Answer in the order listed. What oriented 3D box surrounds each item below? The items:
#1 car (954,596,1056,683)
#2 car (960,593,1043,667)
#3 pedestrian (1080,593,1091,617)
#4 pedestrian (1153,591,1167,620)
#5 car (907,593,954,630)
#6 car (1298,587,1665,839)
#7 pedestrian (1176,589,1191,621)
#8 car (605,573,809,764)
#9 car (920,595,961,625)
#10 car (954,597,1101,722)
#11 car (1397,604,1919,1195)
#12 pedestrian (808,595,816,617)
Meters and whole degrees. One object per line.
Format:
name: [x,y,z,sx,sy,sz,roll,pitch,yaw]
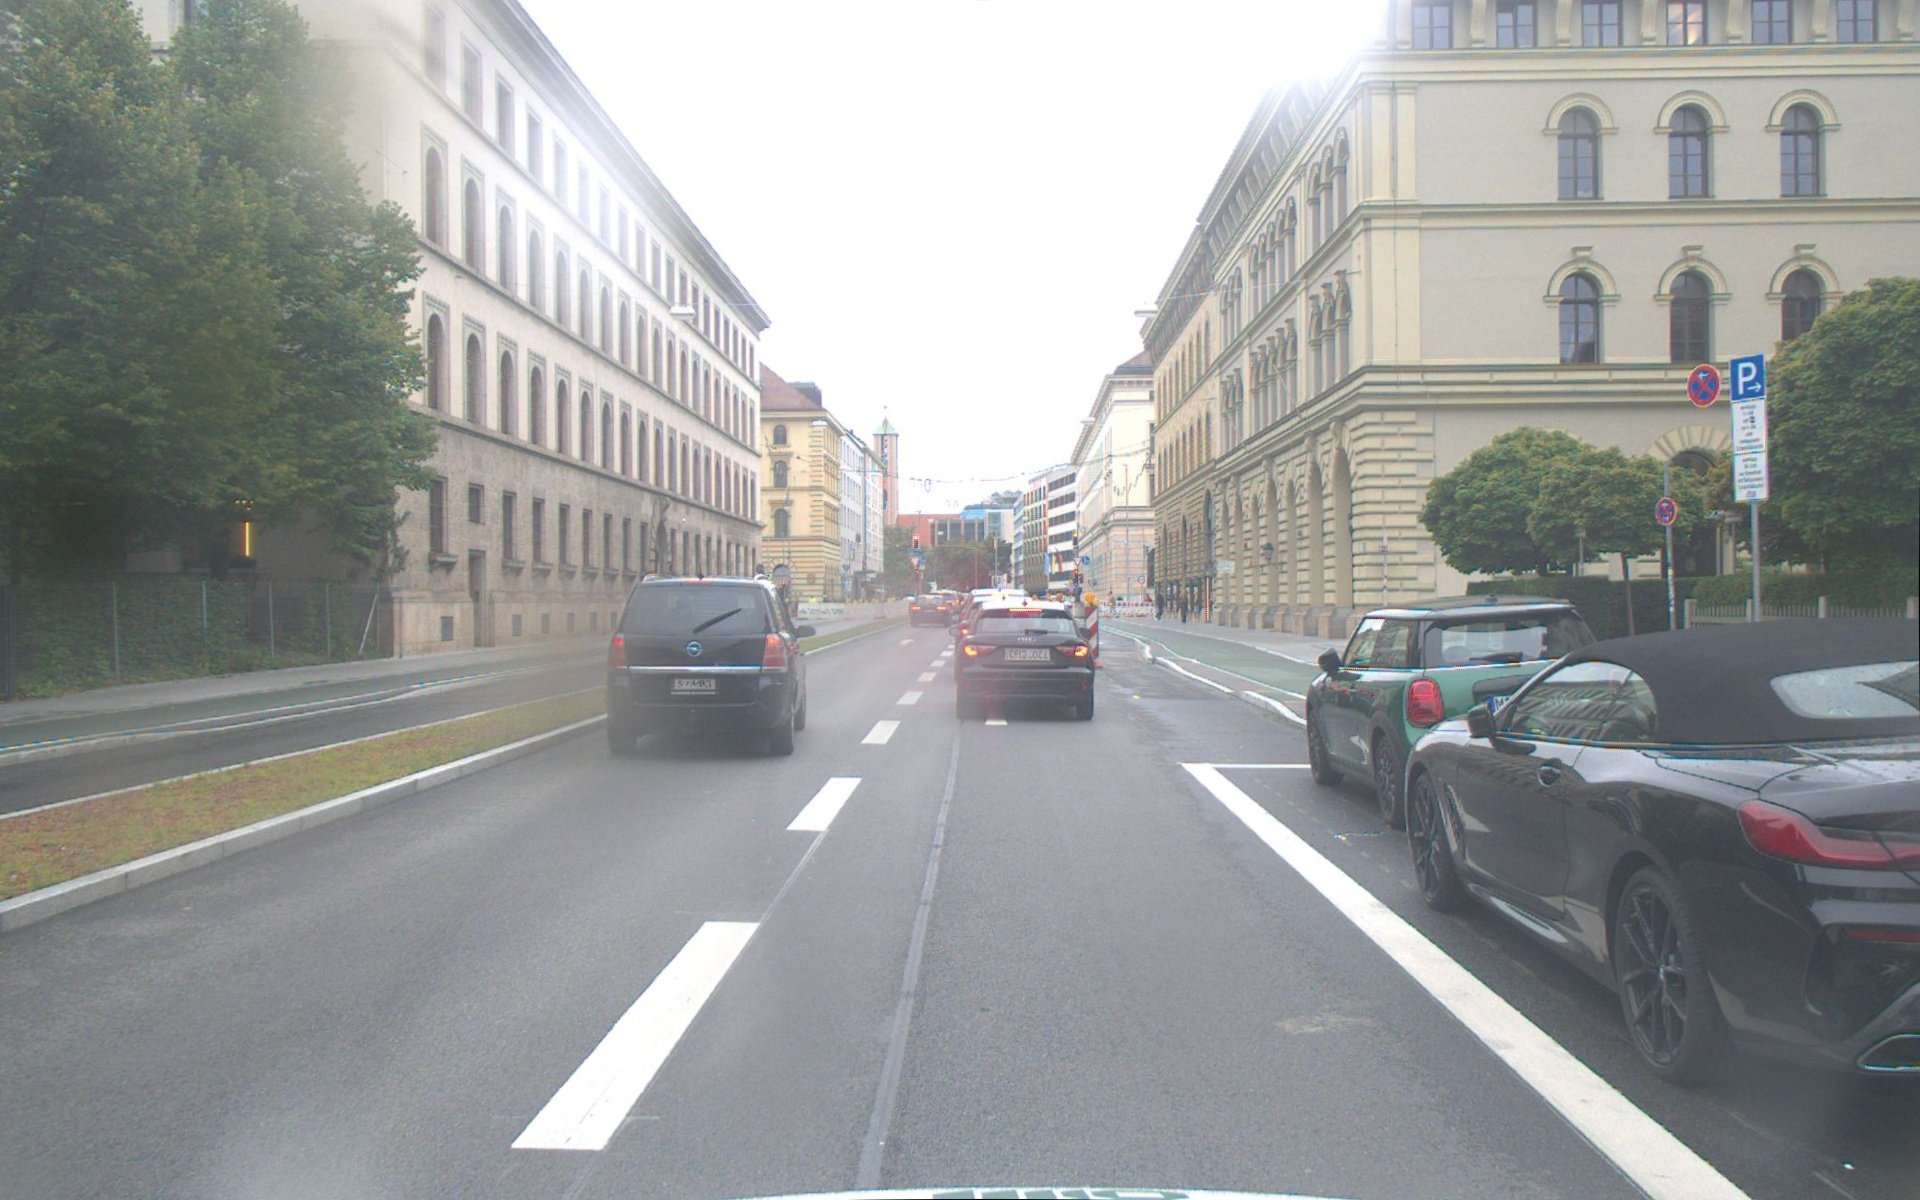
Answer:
car: [0.802,0.656,29.806,1.694,1.427,4.001,1,0,1]
car: [0.910,0.617,36.161,1.694,1.486,4.001,1,0,1]
pedestrian: [8.806,0.332,115.958,0.736,1.646,0.713,0,0,9]
pedestrian: [11.383,0.309,94.186,0.695,1.646,0.754,0,0,1]
car: [-1.345,0.516,75.879,1.952,1.656,4.001,0,0,2]
car: [3.646,0.696,12.243,1.640,1.547,3.831,1,0,2]
pedestrian: [11.526,0.277,85.390,0.695,1.646,0.754,0,0,1]
car: [-2.371,0.587,16.333,1.730,1.644,4.025,1,0,-5]
car: [-0.977,0.495,85.662,1.952,1.469,4.001,0,0,2]
car: [0.835,0.694,21.404,1.694,1.427,4.001,1,0,1]
car: [3.135,0.759,6.445,1.788,1.432,4.721,1,0,2]
pedestrian: [-12.596,0.530,140.901,0.642,1.836,0.727,0,0,1]
